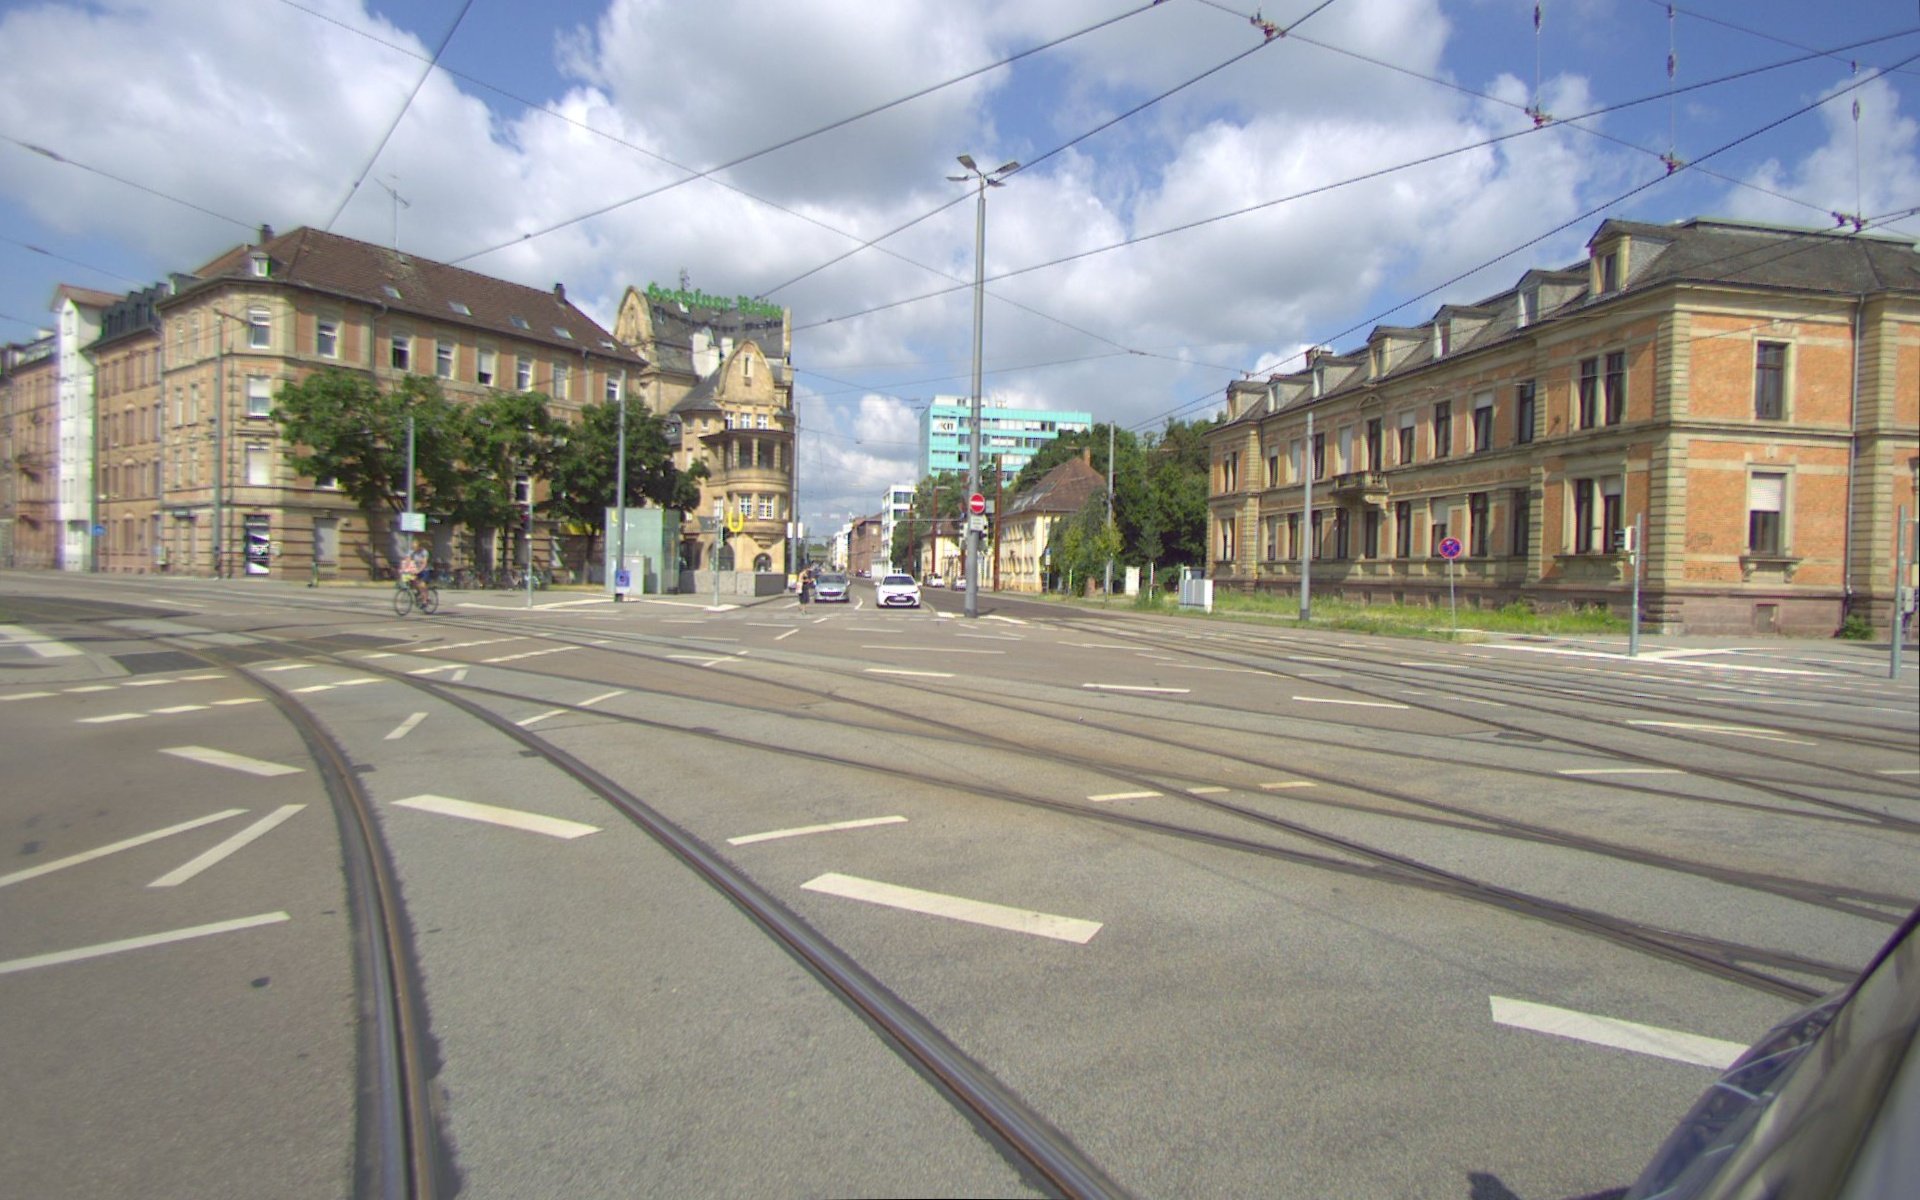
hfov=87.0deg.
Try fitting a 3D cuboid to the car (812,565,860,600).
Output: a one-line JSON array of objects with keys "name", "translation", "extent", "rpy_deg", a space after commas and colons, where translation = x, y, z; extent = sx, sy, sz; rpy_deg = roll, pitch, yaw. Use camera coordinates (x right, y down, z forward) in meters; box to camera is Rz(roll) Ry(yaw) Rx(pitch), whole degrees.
[{"name": "car", "translation": [-6.232, -0.868, 51.298], "extent": [1.804, 1.616, 3.998], "rpy_deg": [1, -1, 1]}]

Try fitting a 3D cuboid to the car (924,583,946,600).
[{"name": "car", "translation": [-3.166, -0.997, 127.401], "extent": [1.958, 2.039, 4.007], "rpy_deg": [1, -1, -13]}]

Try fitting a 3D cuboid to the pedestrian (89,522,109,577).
[{"name": "pedestrian", "translation": [-49.822, -2.923, 58.588], "extent": [0.885, 3.115, 0.715], "rpy_deg": [0, -2, 44]}]

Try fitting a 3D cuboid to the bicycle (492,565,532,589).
[{"name": "bicycle", "translation": [-23.667, -1.220, 53.408], "extent": [2.670, 1.180, 0.751], "rpy_deg": [2, 2, 37]}]

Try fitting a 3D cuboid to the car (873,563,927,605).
[{"name": "car", "translation": [-2.481, -0.653, 42.964], "extent": [1.920, 1.616, 4.503], "rpy_deg": [1, -1, 1]}]

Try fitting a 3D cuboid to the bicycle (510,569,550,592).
[{"name": "bicycle", "translation": [-23.070, -1.057, 54.222], "extent": [2.670, 1.180, 0.751], "rpy_deg": [2, 2, 37]}]

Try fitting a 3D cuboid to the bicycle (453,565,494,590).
[{"name": "bicycle", "translation": [-24.869, -1.176, 51.725], "extent": [2.670, 1.180, 0.751], "rpy_deg": [2, -1, 37]}]

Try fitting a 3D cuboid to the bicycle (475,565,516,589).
[{"name": "bicycle", "translation": [-24.167, -1.193, 52.619], "extent": [2.670, 1.180, 0.751], "rpy_deg": [1, -1, 38]}]

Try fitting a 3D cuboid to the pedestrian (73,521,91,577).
[{"name": "pedestrian", "translation": [-50.372, -2.910, 58.055], "extent": [0.885, 3.160, 0.657], "rpy_deg": [0, -2, 44]}]

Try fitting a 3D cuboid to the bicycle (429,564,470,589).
[{"name": "bicycle", "translation": [-25.647, -1.181, 50.833], "extent": [2.670, 1.180, 0.751], "rpy_deg": [2, 2, 37]}]

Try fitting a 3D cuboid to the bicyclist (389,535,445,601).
[{"name": "bicyclist", "translation": [-14.537, -0.839, 27.133], "extent": [0.610, 1.696, 1.135], "rpy_deg": [0, -1, 32]}]

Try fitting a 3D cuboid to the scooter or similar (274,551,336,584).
[{"name": "scooter or similar", "translation": [-29.678, -1.456, 45.849], "extent": [2.779, 1.403, 1.168], "rpy_deg": [1, -1, 29]}]

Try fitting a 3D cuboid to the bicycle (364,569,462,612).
[{"name": "bicycle", "translation": [-14.571, -0.244, 27.025], "extent": [0.870, 1.084, 2.174], "rpy_deg": [1, -1, 30]}]

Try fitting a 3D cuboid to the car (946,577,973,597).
[{"name": "car", "translation": [-0.086, -1.346, 108.669], "extent": [1.958, 2.039, 4.007], "rpy_deg": [1, -1, -13]}]

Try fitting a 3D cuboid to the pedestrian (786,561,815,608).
[{"name": "pedestrian", "translation": [-5.315, -0.506, 33.700], "extent": [0.543, 1.535, 0.731], "rpy_deg": [2, 1, 43]}]
